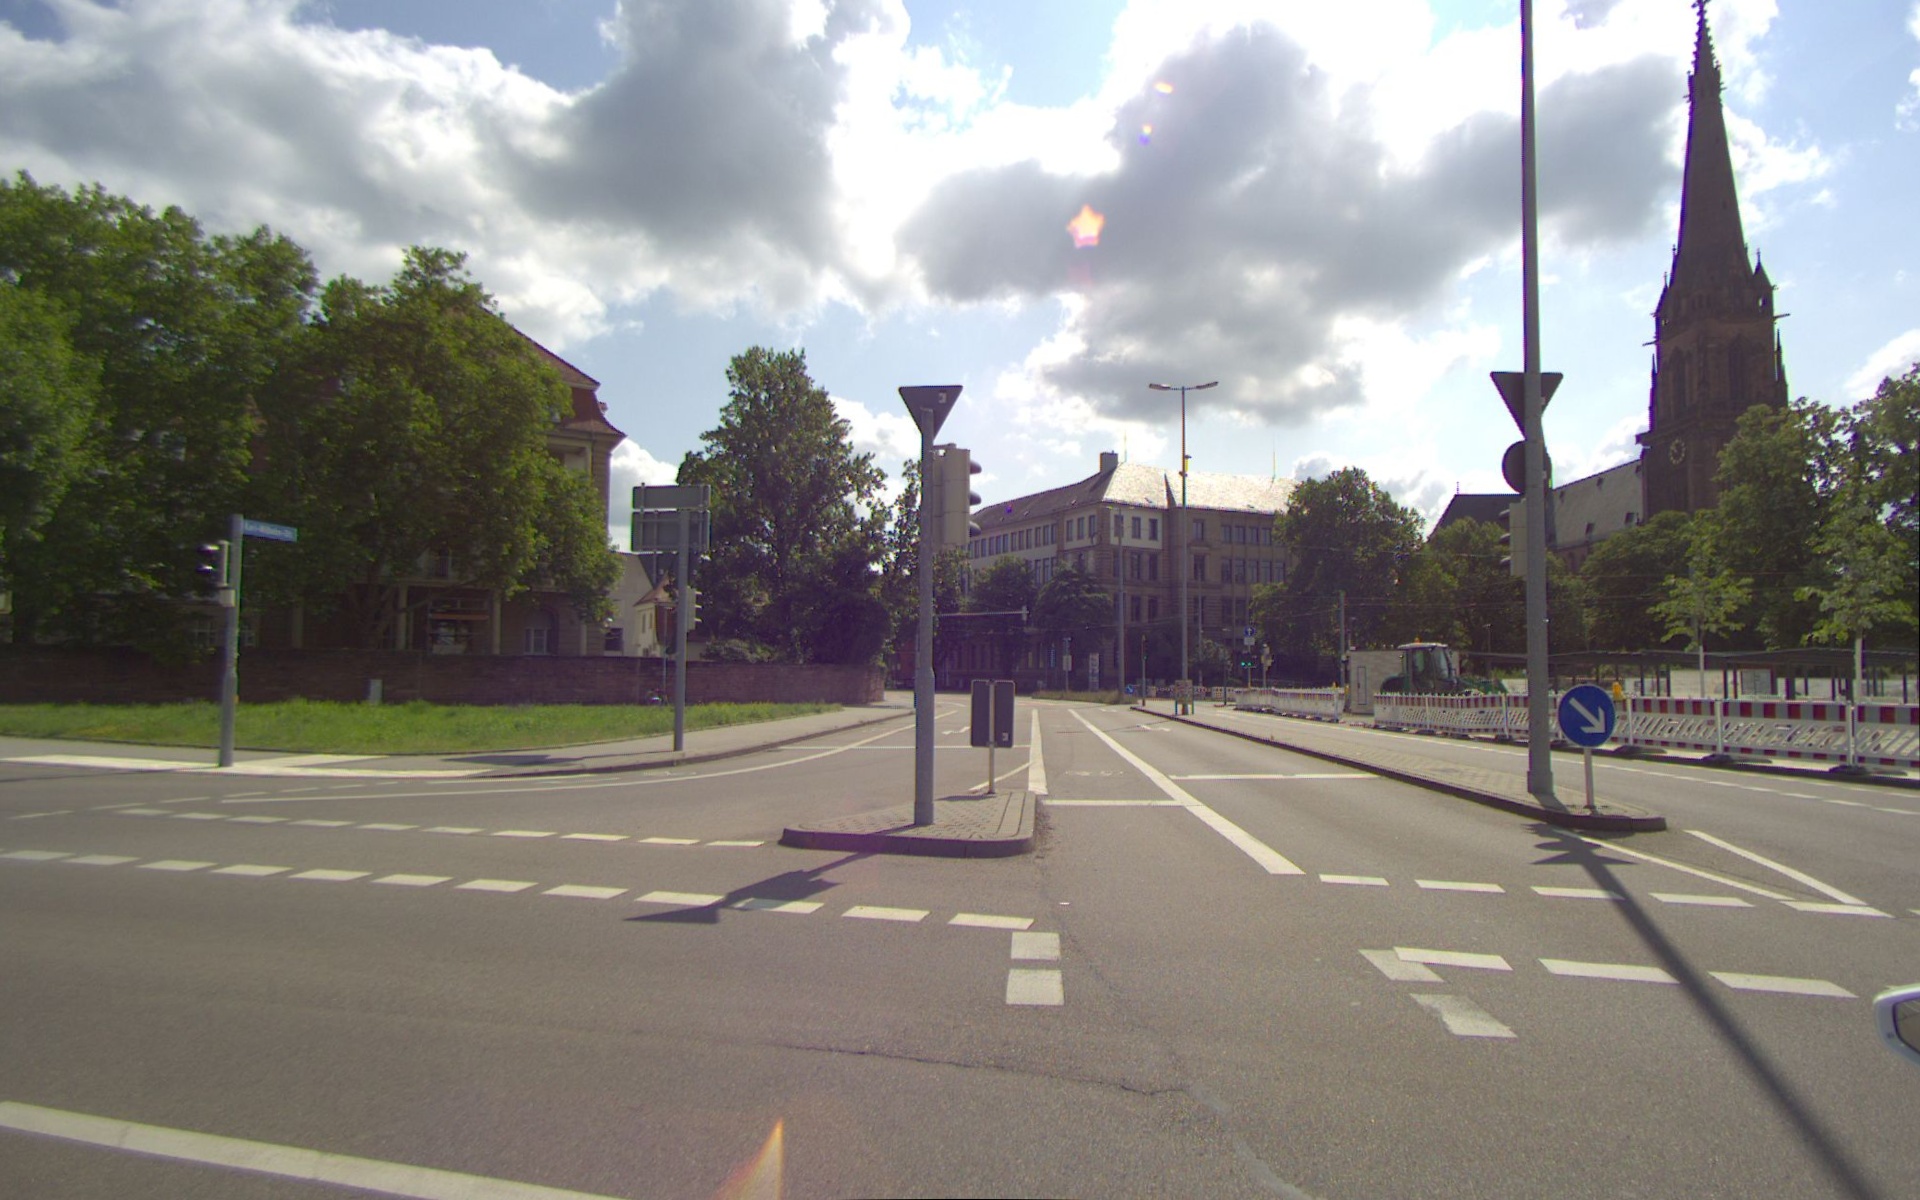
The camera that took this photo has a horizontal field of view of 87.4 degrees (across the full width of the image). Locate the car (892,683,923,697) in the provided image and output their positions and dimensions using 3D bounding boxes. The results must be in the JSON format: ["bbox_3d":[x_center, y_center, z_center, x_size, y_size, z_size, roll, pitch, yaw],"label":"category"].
[{"bbox_3d":[-6.626,11.352,126.953,3.922,1.705,1.803,1,-4,-2],"label":"car"}]

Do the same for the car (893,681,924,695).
[{"bbox_3d":[-6.594,11.286,128.943,3.922,1.705,1.803,1,-4,-2],"label":"car"}]

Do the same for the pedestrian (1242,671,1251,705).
[{"bbox_3d":[16.261,4.996,57.052,0.489,1.874,0.530,0,-4,15],"label":"pedestrian"}]

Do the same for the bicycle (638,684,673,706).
[{"bbox_3d":[-14.406,4.507,47.510,1.511,1.004,0.389,4,-5,-41],"label":"bicycle"}]

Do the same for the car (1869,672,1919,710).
[{"bbox_3d":[48.540,4.573,50.297,1.782,1.906,4.147,3,-5,-30],"label":"car"}]

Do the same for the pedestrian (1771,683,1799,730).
[{"bbox_3d":[37.123,4.775,45.179,0.755,2.039,0.743,3,-4,-34],"label":"pedestrian"}]

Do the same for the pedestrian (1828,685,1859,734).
[{"bbox_3d":[37.906,4.678,43.097,0.742,2.039,0.756,3,-4,-32],"label":"pedestrian"}]

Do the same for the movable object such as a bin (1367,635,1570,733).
[{"bbox_3d":[16.423,2.694,32.746,2.269,2.921,5.482,4,-5,-38],"label":"movable object such as a bin"}]
